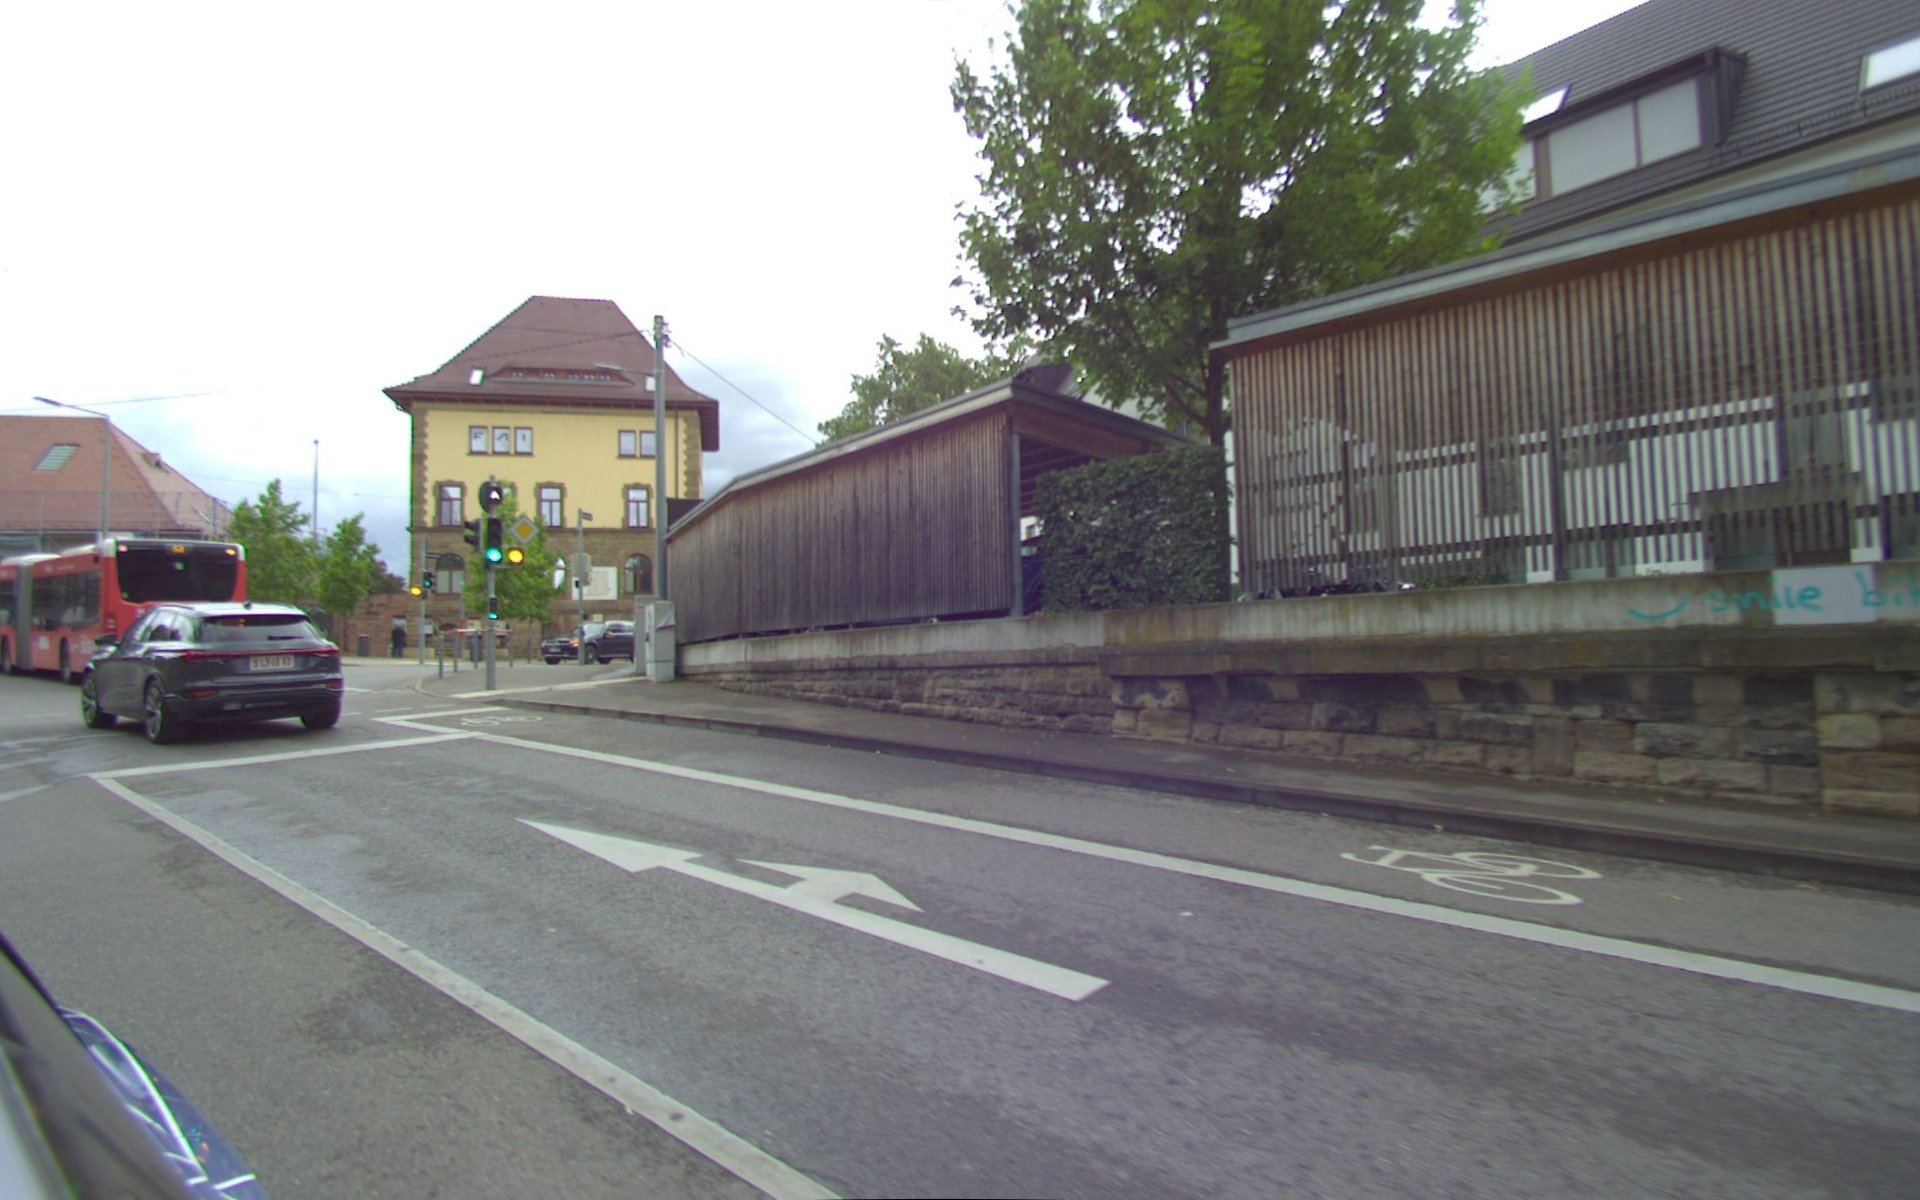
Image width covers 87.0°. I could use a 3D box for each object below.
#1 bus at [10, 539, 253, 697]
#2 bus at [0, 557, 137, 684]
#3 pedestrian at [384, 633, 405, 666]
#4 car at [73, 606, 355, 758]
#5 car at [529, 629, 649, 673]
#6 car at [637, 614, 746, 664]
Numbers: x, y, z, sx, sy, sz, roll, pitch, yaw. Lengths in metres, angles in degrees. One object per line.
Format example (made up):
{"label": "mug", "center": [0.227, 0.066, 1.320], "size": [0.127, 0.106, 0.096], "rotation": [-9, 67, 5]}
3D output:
{"label": "bus", "center": [-19.595, 0.432, 23.721], "size": [8.280, 3.145, 2.633], "rotation": [-1, -1, 38]}
{"label": "bus", "center": [-27.006, 0.599, 29.162], "size": [9.997, 3.145, 2.634], "rotation": [-1, -1, 36]}
{"label": "pedestrian", "center": [-27.519, 2.420, 49.267], "size": [0.644, 1.589, 0.539], "rotation": [1, -3, 2]}
{"label": "car", "center": [-9.962, 0.927, 13.386], "size": [4.517, 1.642, 1.903], "rotation": [0, 1, 39]}
{"label": "car", "center": [-13.867, 1.935, 38.113], "size": [1.984, 1.524, 4.246], "rotation": [0, -3, 19]}
{"label": "car", "center": [-11.747, 1.746, 44.796], "size": [1.983, 2.029, 5.555], "rotation": [0, -3, 17]}
